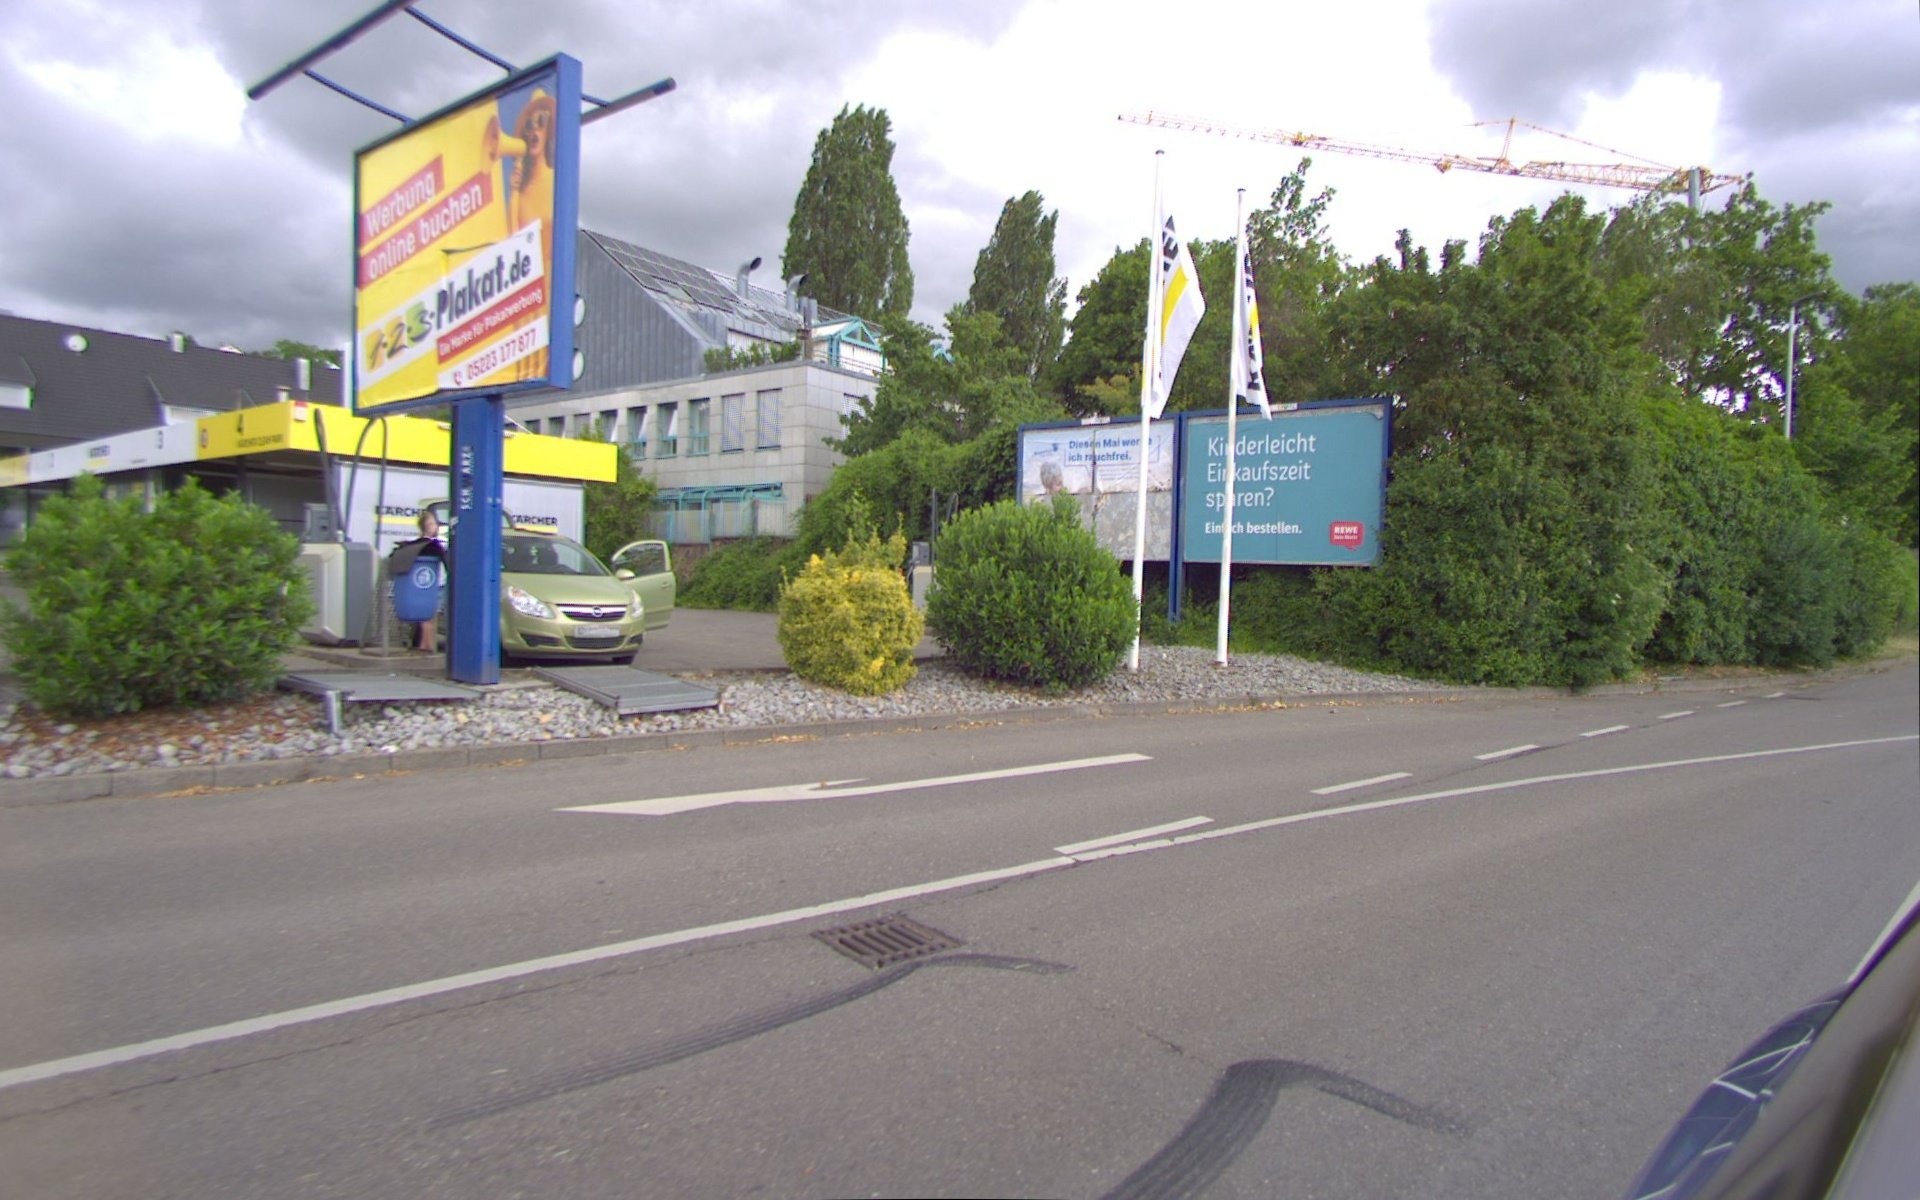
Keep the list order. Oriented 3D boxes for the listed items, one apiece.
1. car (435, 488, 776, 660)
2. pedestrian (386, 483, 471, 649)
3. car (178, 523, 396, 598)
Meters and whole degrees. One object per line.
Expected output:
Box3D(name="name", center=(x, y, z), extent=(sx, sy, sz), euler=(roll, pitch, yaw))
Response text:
Box3D(name="car", center=(-4.465, -0.333, 12.362), extent=(2.890, 1.676, 4.030), euler=(1, 2, -36))
Box3D(name="pedestrian", center=(-5.658, -0.359, 10.771), extent=(0.630, 1.691, 0.577), euler=(3, 1, 40))
Box3D(name="car", center=(-15.702, -0.899, 23.765), extent=(1.828, 1.593, 3.880), euler=(3, 2, 36))
